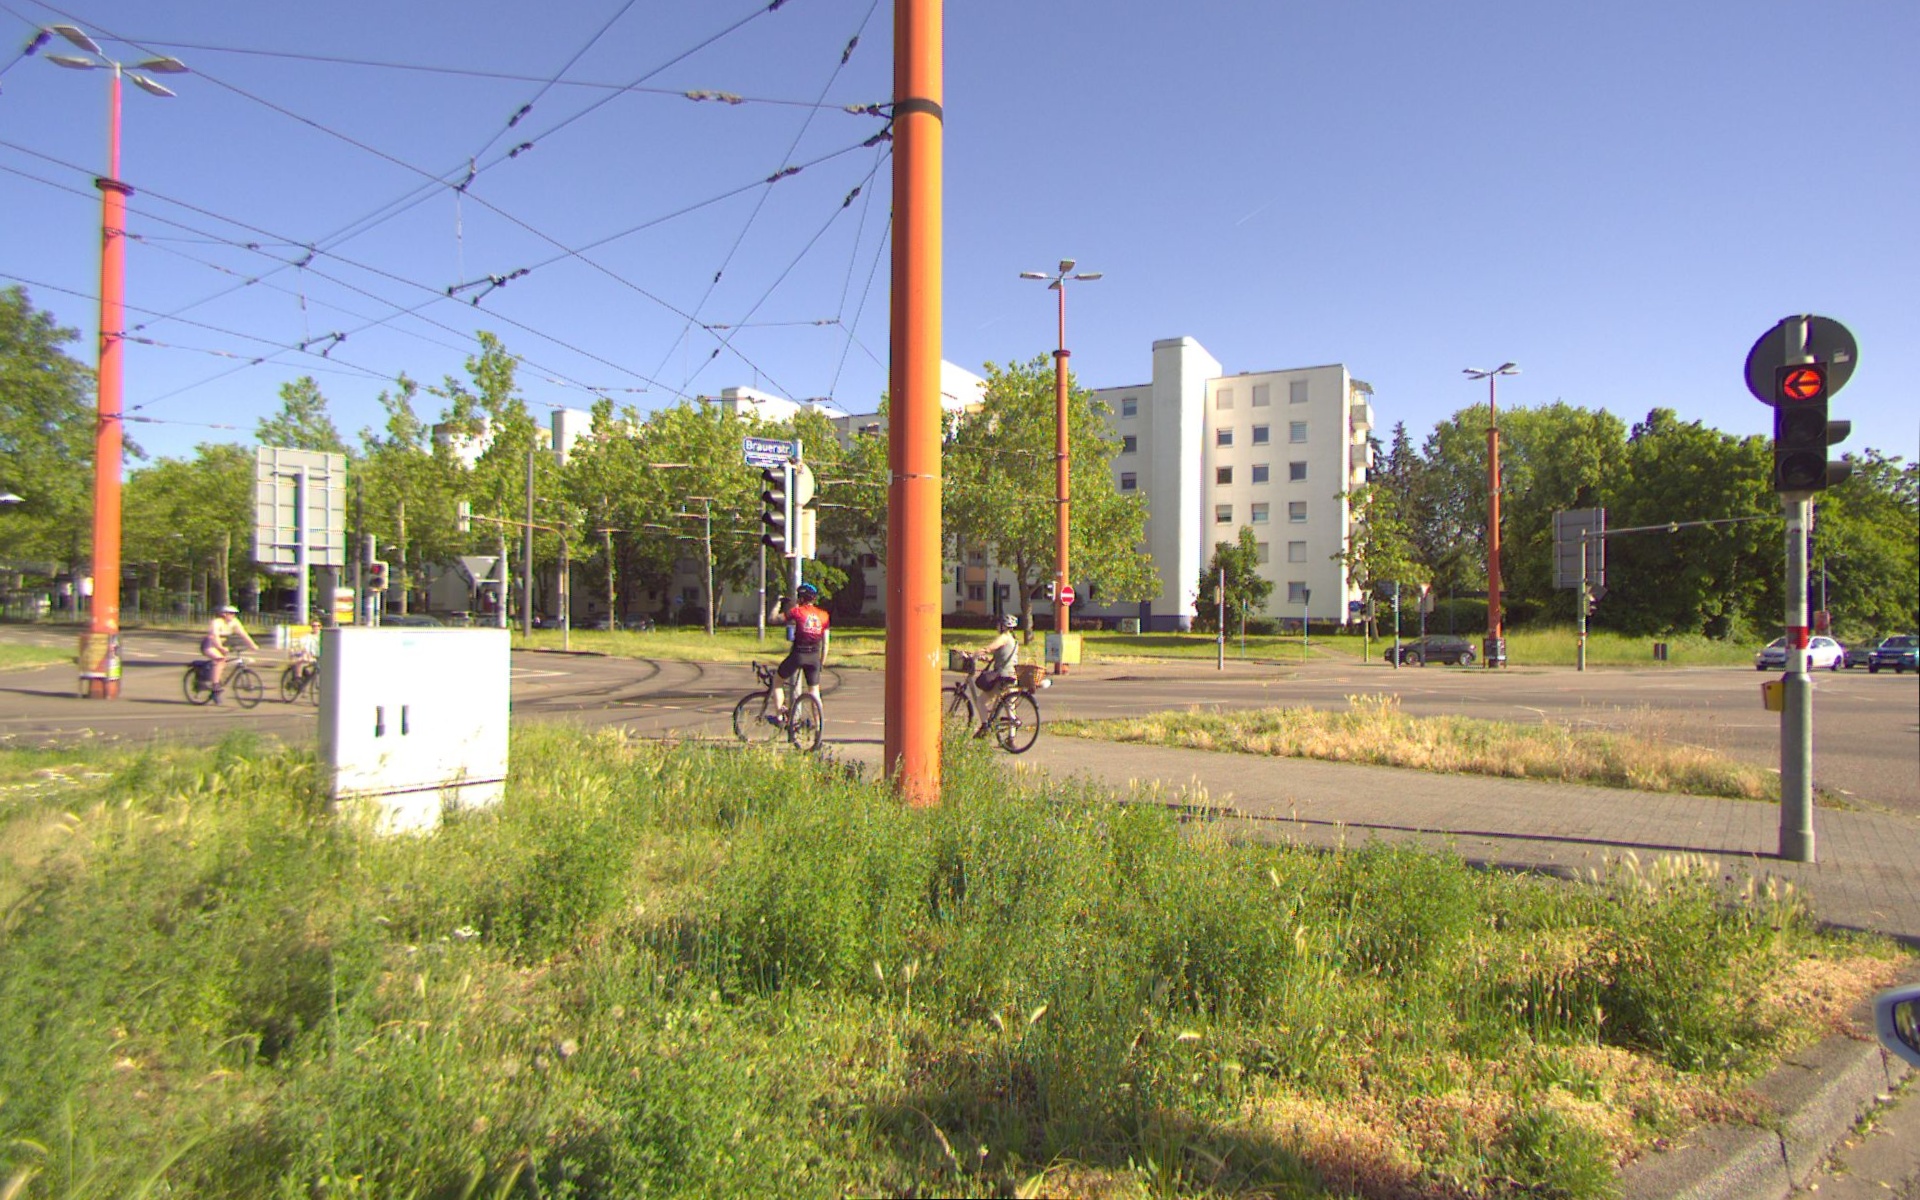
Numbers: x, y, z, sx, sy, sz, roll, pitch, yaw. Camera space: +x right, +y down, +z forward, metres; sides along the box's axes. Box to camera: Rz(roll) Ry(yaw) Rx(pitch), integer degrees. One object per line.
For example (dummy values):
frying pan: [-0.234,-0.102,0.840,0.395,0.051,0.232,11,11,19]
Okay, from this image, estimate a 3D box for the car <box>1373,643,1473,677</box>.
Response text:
car: [21.612,2.801,46.990,3.869,1.522,1.840,0,-2,6]

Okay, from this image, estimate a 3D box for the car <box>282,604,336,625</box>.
car: [-66.296,1.467,102.357,4.274,2.010,1.932,1,-1,-19]

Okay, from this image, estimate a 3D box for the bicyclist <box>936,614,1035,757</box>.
bicyclist: [0.319,1.004,12.226,0.815,1.643,0.888,0,-1,41]

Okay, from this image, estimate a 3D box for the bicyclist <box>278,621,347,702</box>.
bicyclist: [-12.891,1.204,20.004,0.906,1.545,0.720,2,0,20]

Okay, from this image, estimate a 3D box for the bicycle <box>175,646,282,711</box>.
bicycle: [-13.637,1.440,18.733,1.877,1.086,0.580,2,0,17]

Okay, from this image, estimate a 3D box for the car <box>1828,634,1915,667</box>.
car: [43.141,2.378,47.529,3.952,1.533,1.877,1,-2,-29]

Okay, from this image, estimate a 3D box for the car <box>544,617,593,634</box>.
car: [-29.324,1.892,75.340,3.219,1.172,1.357,2,0,-12]

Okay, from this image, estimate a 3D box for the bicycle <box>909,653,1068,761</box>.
bicycle: [0.320,1.253,12.185,1.887,1.146,0.737,0,-1,41]

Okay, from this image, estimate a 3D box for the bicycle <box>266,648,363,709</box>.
bicycle: [-12.853,1.537,19.996,1.878,1.086,0.580,2,0,19]

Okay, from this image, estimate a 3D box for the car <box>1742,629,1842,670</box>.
car: [35.371,2.114,42.684,4.168,1.673,1.869,2,-3,-29]

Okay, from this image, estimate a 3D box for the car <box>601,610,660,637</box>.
car: [-23.662,1.704,72.296,3.874,1.841,1.651,2,0,-13]

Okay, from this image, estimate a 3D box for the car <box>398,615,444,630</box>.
car: [-46.621,1.927,86.954,3.370,1.204,1.439,2,0,-23]

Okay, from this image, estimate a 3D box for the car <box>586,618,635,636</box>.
car: [-25.827,1.997,74.312,3.279,1.149,1.321,2,0,-11]

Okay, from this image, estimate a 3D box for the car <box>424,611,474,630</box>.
car: [-43.254,1.764,85.099,3.592,1.480,1.608,2,0,-19]

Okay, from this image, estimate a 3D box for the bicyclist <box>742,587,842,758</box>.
bicyclist: [-2.005,0.844,11.962,0.974,1.938,0.685,-1,-2,33]

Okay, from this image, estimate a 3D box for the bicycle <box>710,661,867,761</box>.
bicycle: [-2.070,1.286,12.002,1.883,1.085,0.690,-2,-2,33]

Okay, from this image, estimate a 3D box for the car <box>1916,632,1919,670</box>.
car: [42.612,2.172,42.713,3.955,1.575,1.891,2,-2,-32]

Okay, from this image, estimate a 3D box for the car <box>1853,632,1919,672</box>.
car: [37.301,2.043,39.763,3.813,1.535,1.793,1,-3,-30]

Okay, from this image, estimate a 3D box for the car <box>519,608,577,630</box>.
car: [-32.544,1.508,79.432,3.868,1.614,1.656,2,0,-8]

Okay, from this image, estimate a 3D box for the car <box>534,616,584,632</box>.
car: [-30.892,1.859,77.437,3.346,1.162,1.305,2,0,-13]

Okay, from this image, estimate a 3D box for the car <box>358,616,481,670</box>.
car: [-17.672,1.360,32.799,3.977,1.516,1.913,2,0,34]

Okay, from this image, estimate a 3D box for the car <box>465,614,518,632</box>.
car: [-38.835,1.920,83.388,3.665,1.349,1.496,2,0,-8]

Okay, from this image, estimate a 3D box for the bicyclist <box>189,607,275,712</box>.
bicyclist: [-13.594,1.084,18.775,0.905,1.892,0.893,2,0,17]
